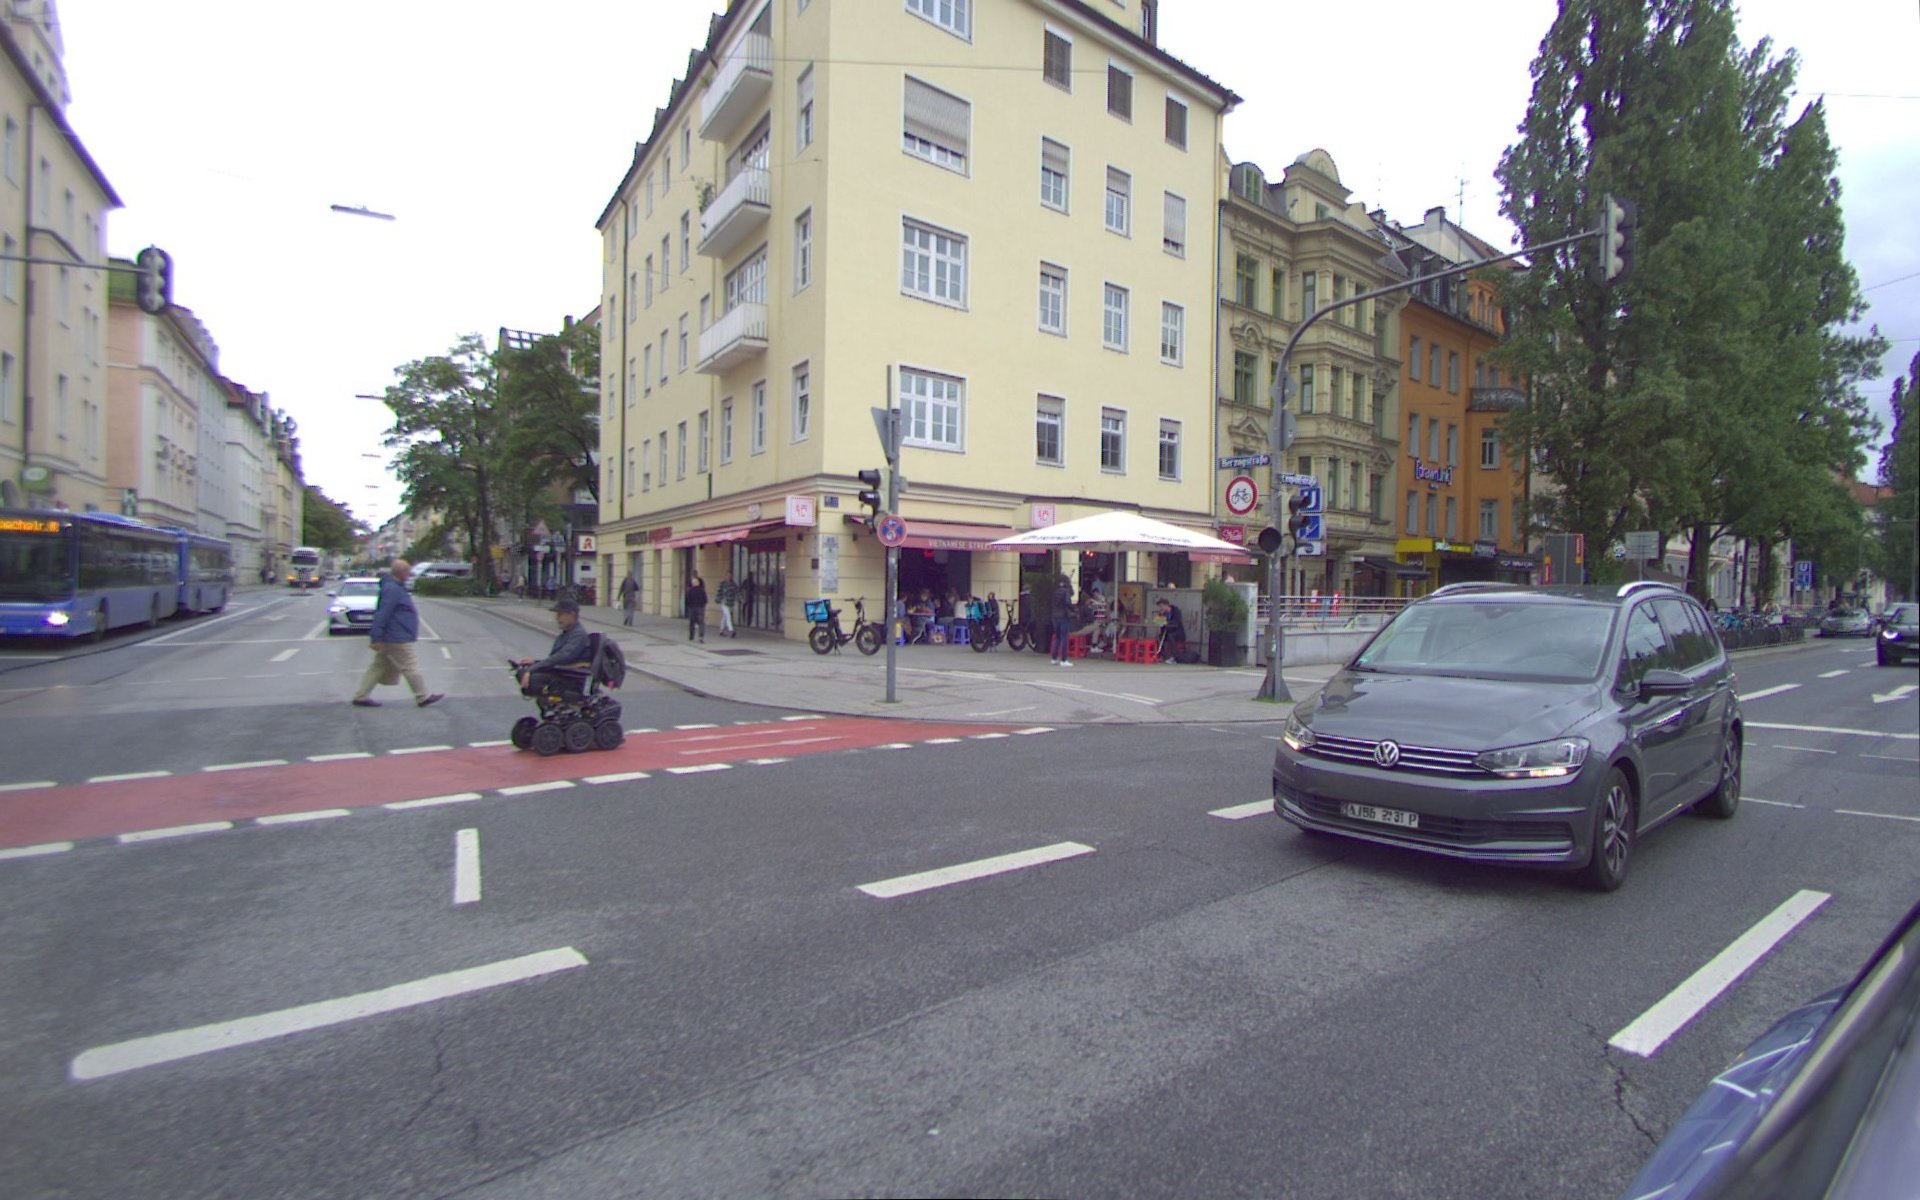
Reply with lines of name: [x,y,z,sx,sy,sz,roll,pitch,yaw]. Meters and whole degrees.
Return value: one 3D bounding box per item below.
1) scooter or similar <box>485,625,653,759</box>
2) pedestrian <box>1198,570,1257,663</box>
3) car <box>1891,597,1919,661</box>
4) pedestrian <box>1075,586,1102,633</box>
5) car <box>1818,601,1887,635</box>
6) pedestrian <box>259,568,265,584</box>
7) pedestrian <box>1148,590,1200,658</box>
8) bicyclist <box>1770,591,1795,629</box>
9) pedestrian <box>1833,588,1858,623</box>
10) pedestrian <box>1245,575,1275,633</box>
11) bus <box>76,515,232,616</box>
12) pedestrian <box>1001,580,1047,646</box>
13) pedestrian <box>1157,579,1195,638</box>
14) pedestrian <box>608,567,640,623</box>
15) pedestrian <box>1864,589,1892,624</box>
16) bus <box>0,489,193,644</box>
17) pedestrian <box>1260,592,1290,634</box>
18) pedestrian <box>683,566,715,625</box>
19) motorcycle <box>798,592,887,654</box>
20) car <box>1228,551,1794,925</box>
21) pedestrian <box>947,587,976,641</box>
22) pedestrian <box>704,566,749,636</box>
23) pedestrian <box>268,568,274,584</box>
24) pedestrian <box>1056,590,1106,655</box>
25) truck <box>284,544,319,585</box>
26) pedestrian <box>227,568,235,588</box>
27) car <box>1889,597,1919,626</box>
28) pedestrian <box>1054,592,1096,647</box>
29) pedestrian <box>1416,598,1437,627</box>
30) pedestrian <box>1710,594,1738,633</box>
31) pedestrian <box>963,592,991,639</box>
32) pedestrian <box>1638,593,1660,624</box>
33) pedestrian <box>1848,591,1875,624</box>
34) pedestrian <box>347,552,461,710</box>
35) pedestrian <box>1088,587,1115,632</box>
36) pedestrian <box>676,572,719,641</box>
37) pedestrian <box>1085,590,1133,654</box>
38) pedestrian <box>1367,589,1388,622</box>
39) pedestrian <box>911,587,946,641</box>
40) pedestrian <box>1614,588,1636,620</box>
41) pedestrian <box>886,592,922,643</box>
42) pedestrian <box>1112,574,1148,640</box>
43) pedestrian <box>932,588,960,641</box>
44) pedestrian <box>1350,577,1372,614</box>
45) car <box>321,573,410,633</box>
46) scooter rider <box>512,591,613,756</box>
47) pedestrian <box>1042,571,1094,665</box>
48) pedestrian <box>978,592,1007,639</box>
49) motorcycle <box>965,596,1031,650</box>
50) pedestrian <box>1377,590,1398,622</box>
scooter or similar: [-3.572,0.794,9.275,1.235,1.088,0.776,1,1,-43]
pedestrian: [5.269,0.311,19.929,0.878,1.765,0.848,2,1,33]
car: [25.102,0.713,25.673,3.901,1.523,1.778,0,1,-41]
pedestrian: [3.691,0.270,29.028,0.542,1.305,0.542,1,1,-41]
car: [41.607,0.810,47.129,4.453,1.458,1.996,0,1,-43]
pedestrian: [-66.732,-2.298,96.724,0.402,1.529,0.450,1,0,-33]
pedestrian: [4.336,0.480,20.473,0.782,1.327,0.679,1,1,-40]
bicyclist: [36.566,0.436,44.993,0.923,1.623,0.681,1,1,-41]
pedestrian: [46.081,0.289,52.653,0.638,1.803,0.702,1,-1,-7]
pedestrian: [9.275,0.124,31.287,0.654,1.761,0.601,1,1,-41]
bus: [-27.986,-1.184,35.620,2.759,3.004,9.597,2,1,-30]
pedestrian: [1.552,0.304,24.499,0.727,1.560,0.880,2,1,35]
pedestrian: [6.200,0.248,29.003,0.772,1.653,0.711,1,1,-41]
pedestrian: [-10.140,-0.151,30.564,0.752,1.663,0.761,1,1,-30]
pedestrian: [48.020,0.340,52.955,0.741,1.824,0.883,2,-1,-30]
bus: [-22.224,-0.850,25.525,2.759,3.004,13.621,2,1,-30]
pedestrian: [9.597,0.390,30.831,0.654,1.237,0.601,1,1,-41]
pedestrian: [-7.645,-0.142,29.638,0.690,1.704,0.854,1,1,-30]
motorcycle: [-2.414,0.458,20.776,1.745,1.215,0.538,1,1,20]
car: [3.886,0.620,6.713,4.625,1.668,1.775,0,0,-41]
pedestrian: [0.035,0.347,25.178,0.518,1.315,0.479,1,0,-42]
pedestrian: [-5.902,0.015,25.577,0.822,1.704,1.041,1,1,-30]
pedestrian: [-66.041,-2.297,97.032,0.402,1.529,0.450,1,0,-33]
pedestrian: [2.556,0.461,21.310,0.782,1.328,0.679,1,1,-40]
truck: [-70.062,-3.748,107.808,2.855,3.963,18.914,1,1,-33]
pedestrian: [-51.524,-1.540,71.544,0.402,1.375,0.450,1,0,-33]
car: [58.653,0.682,62.277,4.425,1.681,1.735,0,1,-42]
pedestrian: [2.606,0.438,22.926,0.688,1.218,0.627,1,1,-40]
pedestrian: [20.062,0.539,43.519,0.573,1.233,0.623,1,1,-41]
pedestrian: [31.899,0.555,42.255,0.749,1.582,0.761,2,0,-39]
pedestrian: [0.437,0.397,26.207,0.518,1.180,0.479,1,0,-42]
pedestrian: [37.589,0.462,55.239,0.999,1.706,0.747,1,1,-41]
pedestrian: [46.853,0.387,52.618,0.743,1.659,0.700,1,-1,6]
pedestrian: [-6.649,0.342,12.089,1.045,1.777,0.936,1,1,-37]
pedestrian: [4.140,0.274,29.535,0.542,1.305,0.542,1,1,-41]
pedestrian: [-6.231,0.139,24.010,0.753,1.605,0.760,1,1,-36]
pedestrian: [3.218,0.465,21.881,0.782,1.328,0.679,1,1,-40]
pedestrian: [16.640,0.232,40.349,0.573,1.296,0.584,1,1,-41]
pedestrian: [-0.776,0.337,24.896,0.691,1.308,0.515,1,0,-42]
pedestrian: [36.794,0.196,55.978,0.999,1.735,0.747,1,1,-41]
pedestrian: [-1.340,0.406,24.305,0.691,1.197,0.515,1,1,-42]
pedestrian: [4.317,0.174,25.697,0.666,1.653,0.616,1,1,-41]
pedestrian: [-0.350,0.359,25.546,0.518,1.315,0.479,1,0,-42]
pedestrian: [16.519,-0.200,41.663,0.572,1.493,0.627,1,1,-38]
car: [-15.758,0.035,26.984,1.856,1.440,4.006,1,1,-28]
scooter rider: [-3.617,0.631,9.208,0.632,1.406,0.702,1,1,-42]
pedestrian: [2.038,0.317,19.108,0.752,1.716,0.762,1,1,24]
pedestrian: [0.830,0.392,25.846,0.518,1.180,0.479,1,0,-42]
motorcycle: [0.861,0.494,22.630,1.543,1.171,0.487,0,1,-41]
pedestrian: [17.271,0.236,40.879,0.573,1.296,0.584,1,1,-41]
